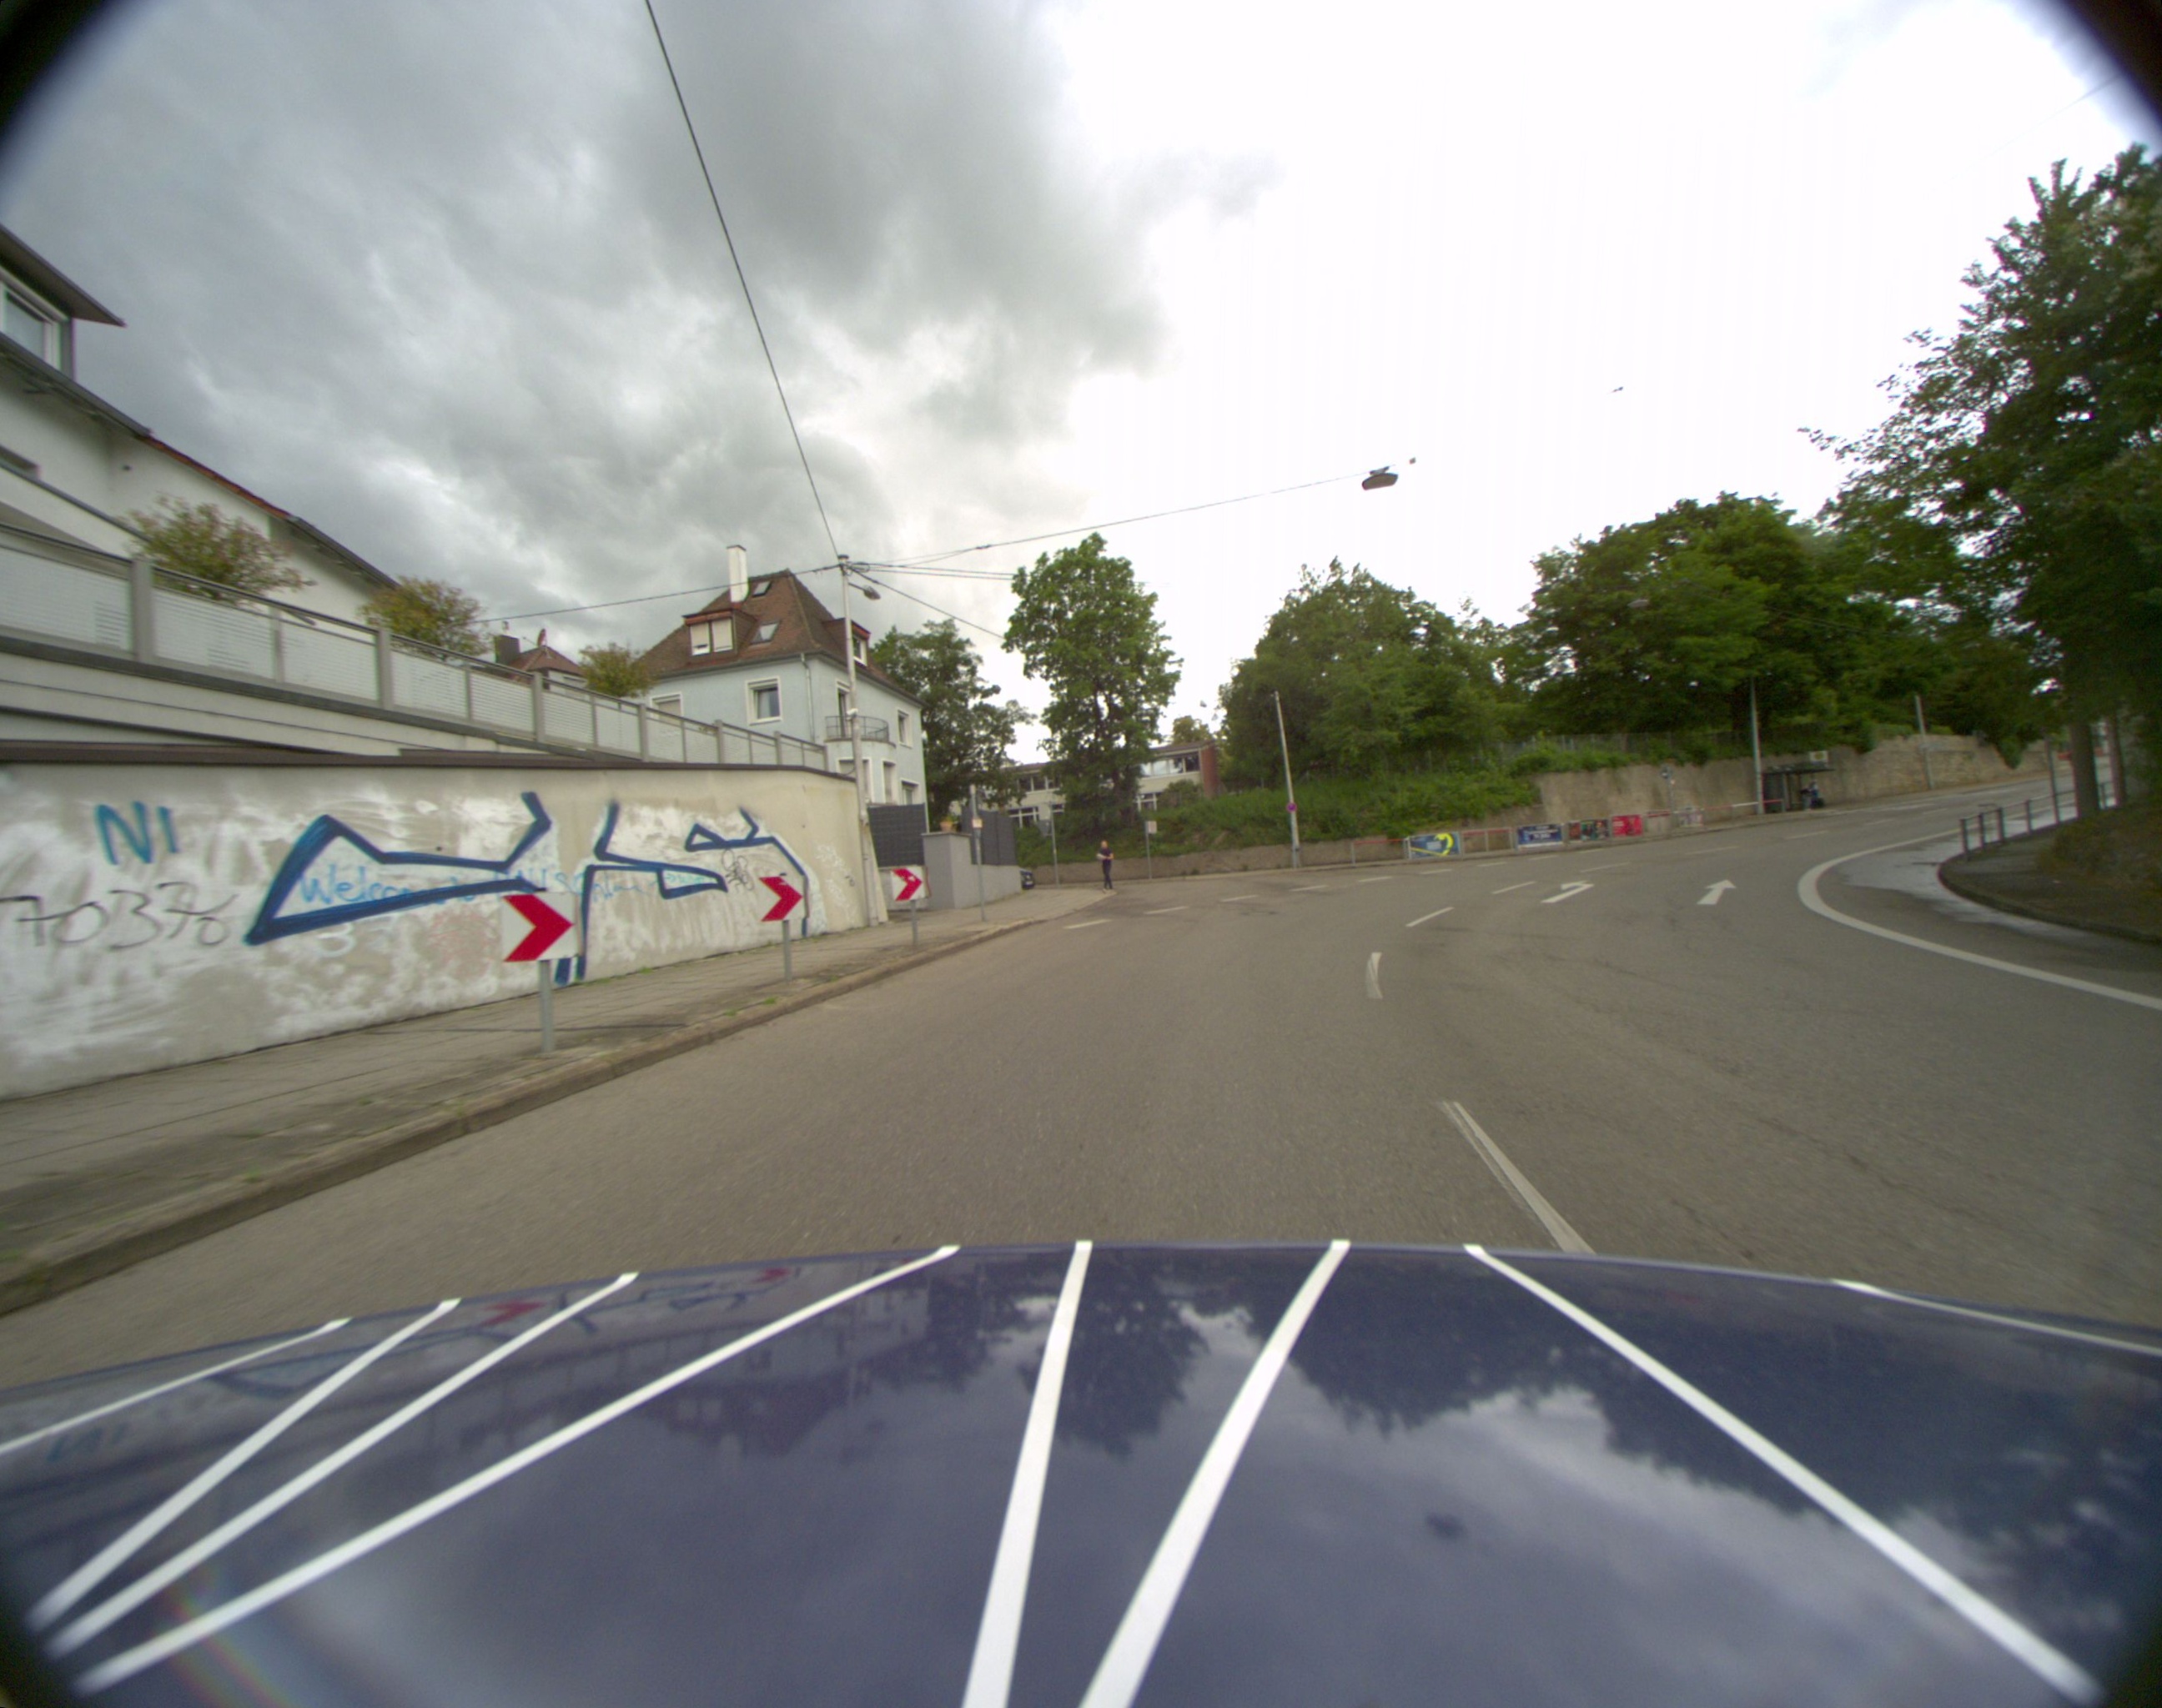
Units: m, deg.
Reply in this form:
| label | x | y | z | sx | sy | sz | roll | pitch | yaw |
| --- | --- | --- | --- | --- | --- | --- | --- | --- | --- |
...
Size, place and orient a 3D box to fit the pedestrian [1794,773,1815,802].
| label | x | y | z | sx | sy | sz | roll | pitch | yaw |
| --- | --- | --- | --- | --- | --- | --- | --- | --- | --- |
| pedestrian | 41.982 | -3.858 | 44.081 | 0.742 | 1.631 | 0.717 | -7 | 3 | -37 |

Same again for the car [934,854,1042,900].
| label | x | y | z | sx | sy | sz | roll | pitch | yaw |
| --- | --- | --- | --- | --- | --- | --- | --- | --- | --- |
| car | -4.473 | 1.134 | 36.496 | 4.828 | 1.853 | 1.954 | -5 | -1 | 30 |

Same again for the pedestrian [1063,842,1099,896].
| label | x | y | z | sx | sy | sz | roll | pitch | yaw |
| --- | --- | --- | --- | --- | --- | --- | --- | --- | --- |
| pedestrian | -0.010 | 0.517 | 26.359 | 0.986 | 1.817 | 0.573 | -4 | 1 | -33 |
